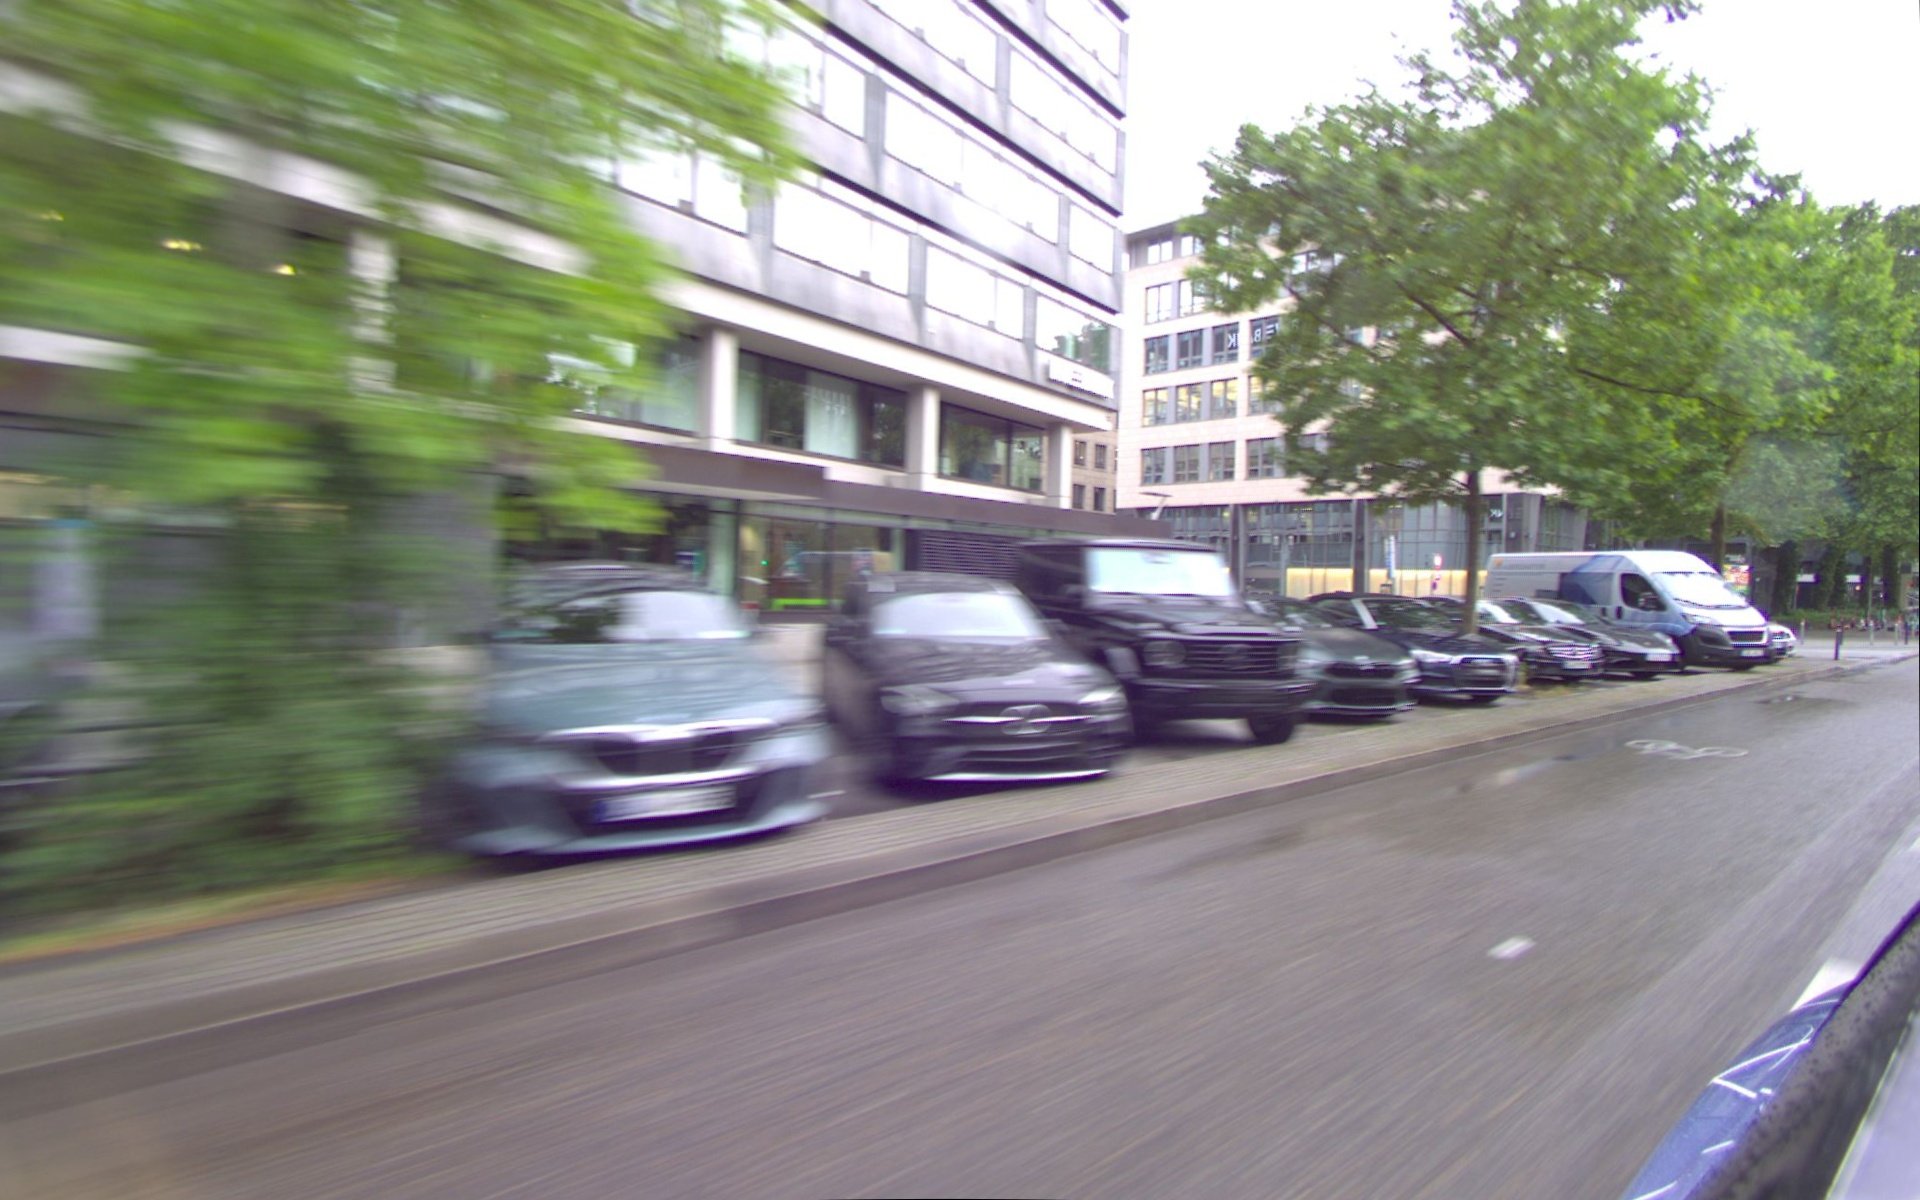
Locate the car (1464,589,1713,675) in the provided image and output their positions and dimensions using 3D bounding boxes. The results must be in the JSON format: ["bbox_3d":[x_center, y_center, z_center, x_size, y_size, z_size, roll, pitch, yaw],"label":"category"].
[{"bbox_3d":[11.807,0.530,19.379,1.673,1.442,4.070,1,1,-12],"label":"car"}]

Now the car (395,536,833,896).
[{"bbox_3d":[-2.069,0.465,6.715,1.876,1.557,4.367,1,1,-14],"label":"car"}]

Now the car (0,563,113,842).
[{"bbox_3d":[-5.825,0.567,3.828,1.877,1.492,4.731,1,1,-9],"label":"car"}]

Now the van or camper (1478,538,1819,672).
[{"bbox_3d":[14.419,0.043,21.900,2.267,2.477,6.278,1,1,-11],"label":"van or camper"}]

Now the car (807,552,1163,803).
[{"bbox_3d":[-0.120,0.442,8.627,1.876,1.557,4.401,1,1,-14],"label":"car"}]

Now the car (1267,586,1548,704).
[{"bbox_3d":[6.266,0.540,14.734,1.673,1.442,4.022,1,1,-12],"label":"car"}]

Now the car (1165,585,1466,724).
[{"bbox_3d":[4.239,0.552,12.828,1.700,1.442,4.070,1,1,-12],"label":"car"}]

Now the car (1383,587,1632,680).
[{"bbox_3d":[9.644,0.512,18.246,1.673,1.442,4.070,1,1,-12],"label":"car"}]

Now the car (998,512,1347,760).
[{"bbox_3d":[1.885,0.258,10.658,1.882,2.018,4.527,1,1,-12],"label":"car"}]
